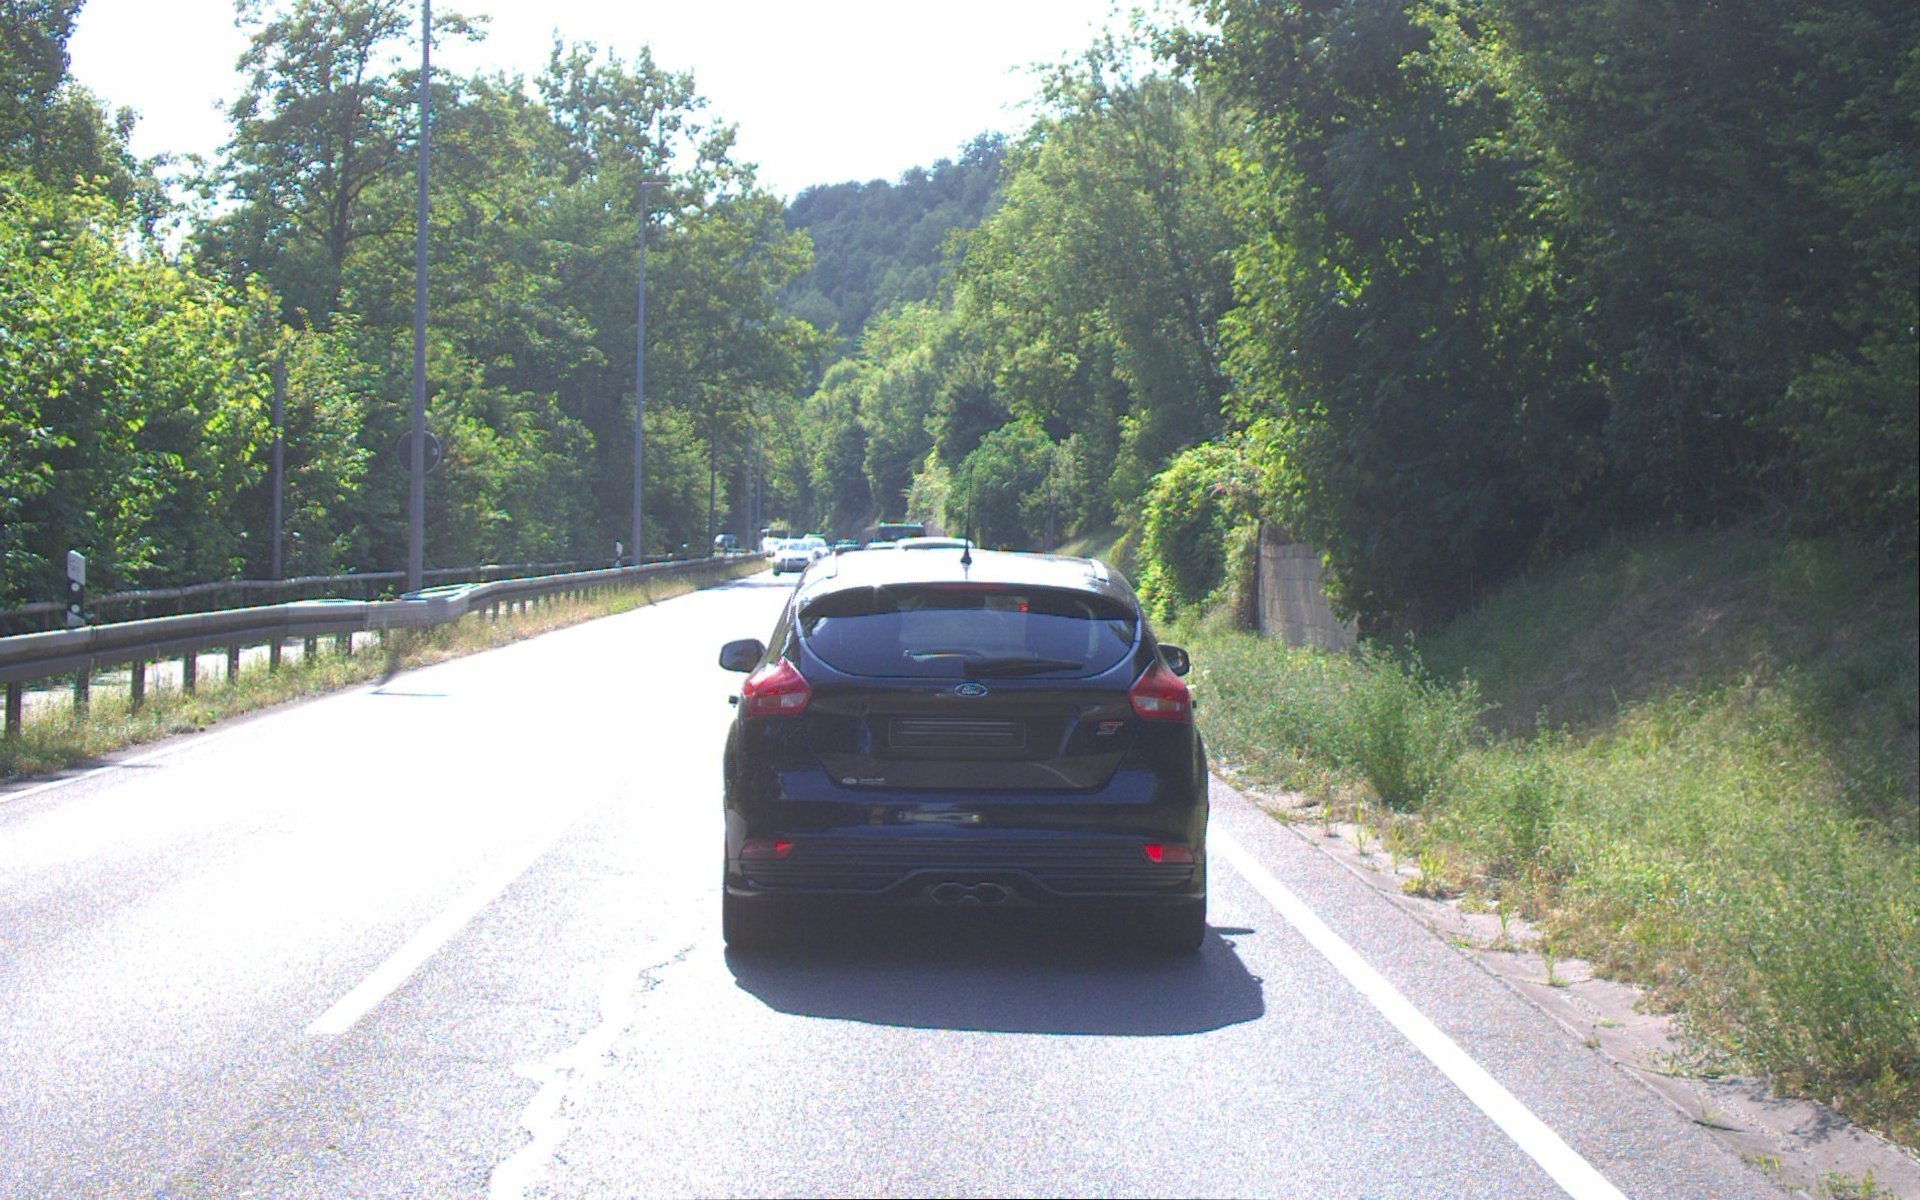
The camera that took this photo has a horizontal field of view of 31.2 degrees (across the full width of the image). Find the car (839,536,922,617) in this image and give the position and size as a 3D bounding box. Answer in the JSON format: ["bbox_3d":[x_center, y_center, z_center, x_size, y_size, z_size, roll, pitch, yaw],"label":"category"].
[{"bbox_3d":[-1.581,-0.504,69.798,1.631,1.590,4.000,0,1,-1],"label":"car"}]

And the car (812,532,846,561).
[{"bbox_3d":[-6.799,-2.791,178.925,1.681,1.458,4.198,1,1,-1],"label":"car"}]

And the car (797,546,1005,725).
[{"bbox_3d":[-0.446,0.252,29.508,1.661,1.413,4.000,0,1,1],"label":"car"}]

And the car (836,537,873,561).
[{"bbox_3d":[-6.840,-3.308,222.461,1.993,1.514,4.001,0,1,-8],"label":"car"}]

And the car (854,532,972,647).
[{"bbox_3d":[-0.671,-0.189,49.734,1.631,1.590,4.000,0,1,-1],"label":"car"}]

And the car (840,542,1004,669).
[{"bbox_3d":[-0.446,0.030,39.968,1.804,1.387,4.000,0,1,-1],"label":"car"}]

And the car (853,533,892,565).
[{"bbox_3d":[-4.245,-2.511,167.664,1.819,1.514,4.000,0,1,-1],"label":"car"}]

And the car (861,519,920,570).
[{"bbox_3d":[-2.493,-1.991,122.134,1.862,1.774,4.001,0,1,-5],"label":"car"}]

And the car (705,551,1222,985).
[{"bbox_3d":[-0.010,0.545,13.717,1.739,1.451,4.000,1,1,-1],"label":"car"}]

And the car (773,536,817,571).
[{"bbox_3d":[-6.613,-1.885,137.821,1.623,1.372,4.048,-1,1,-1],"label":"car"}]
